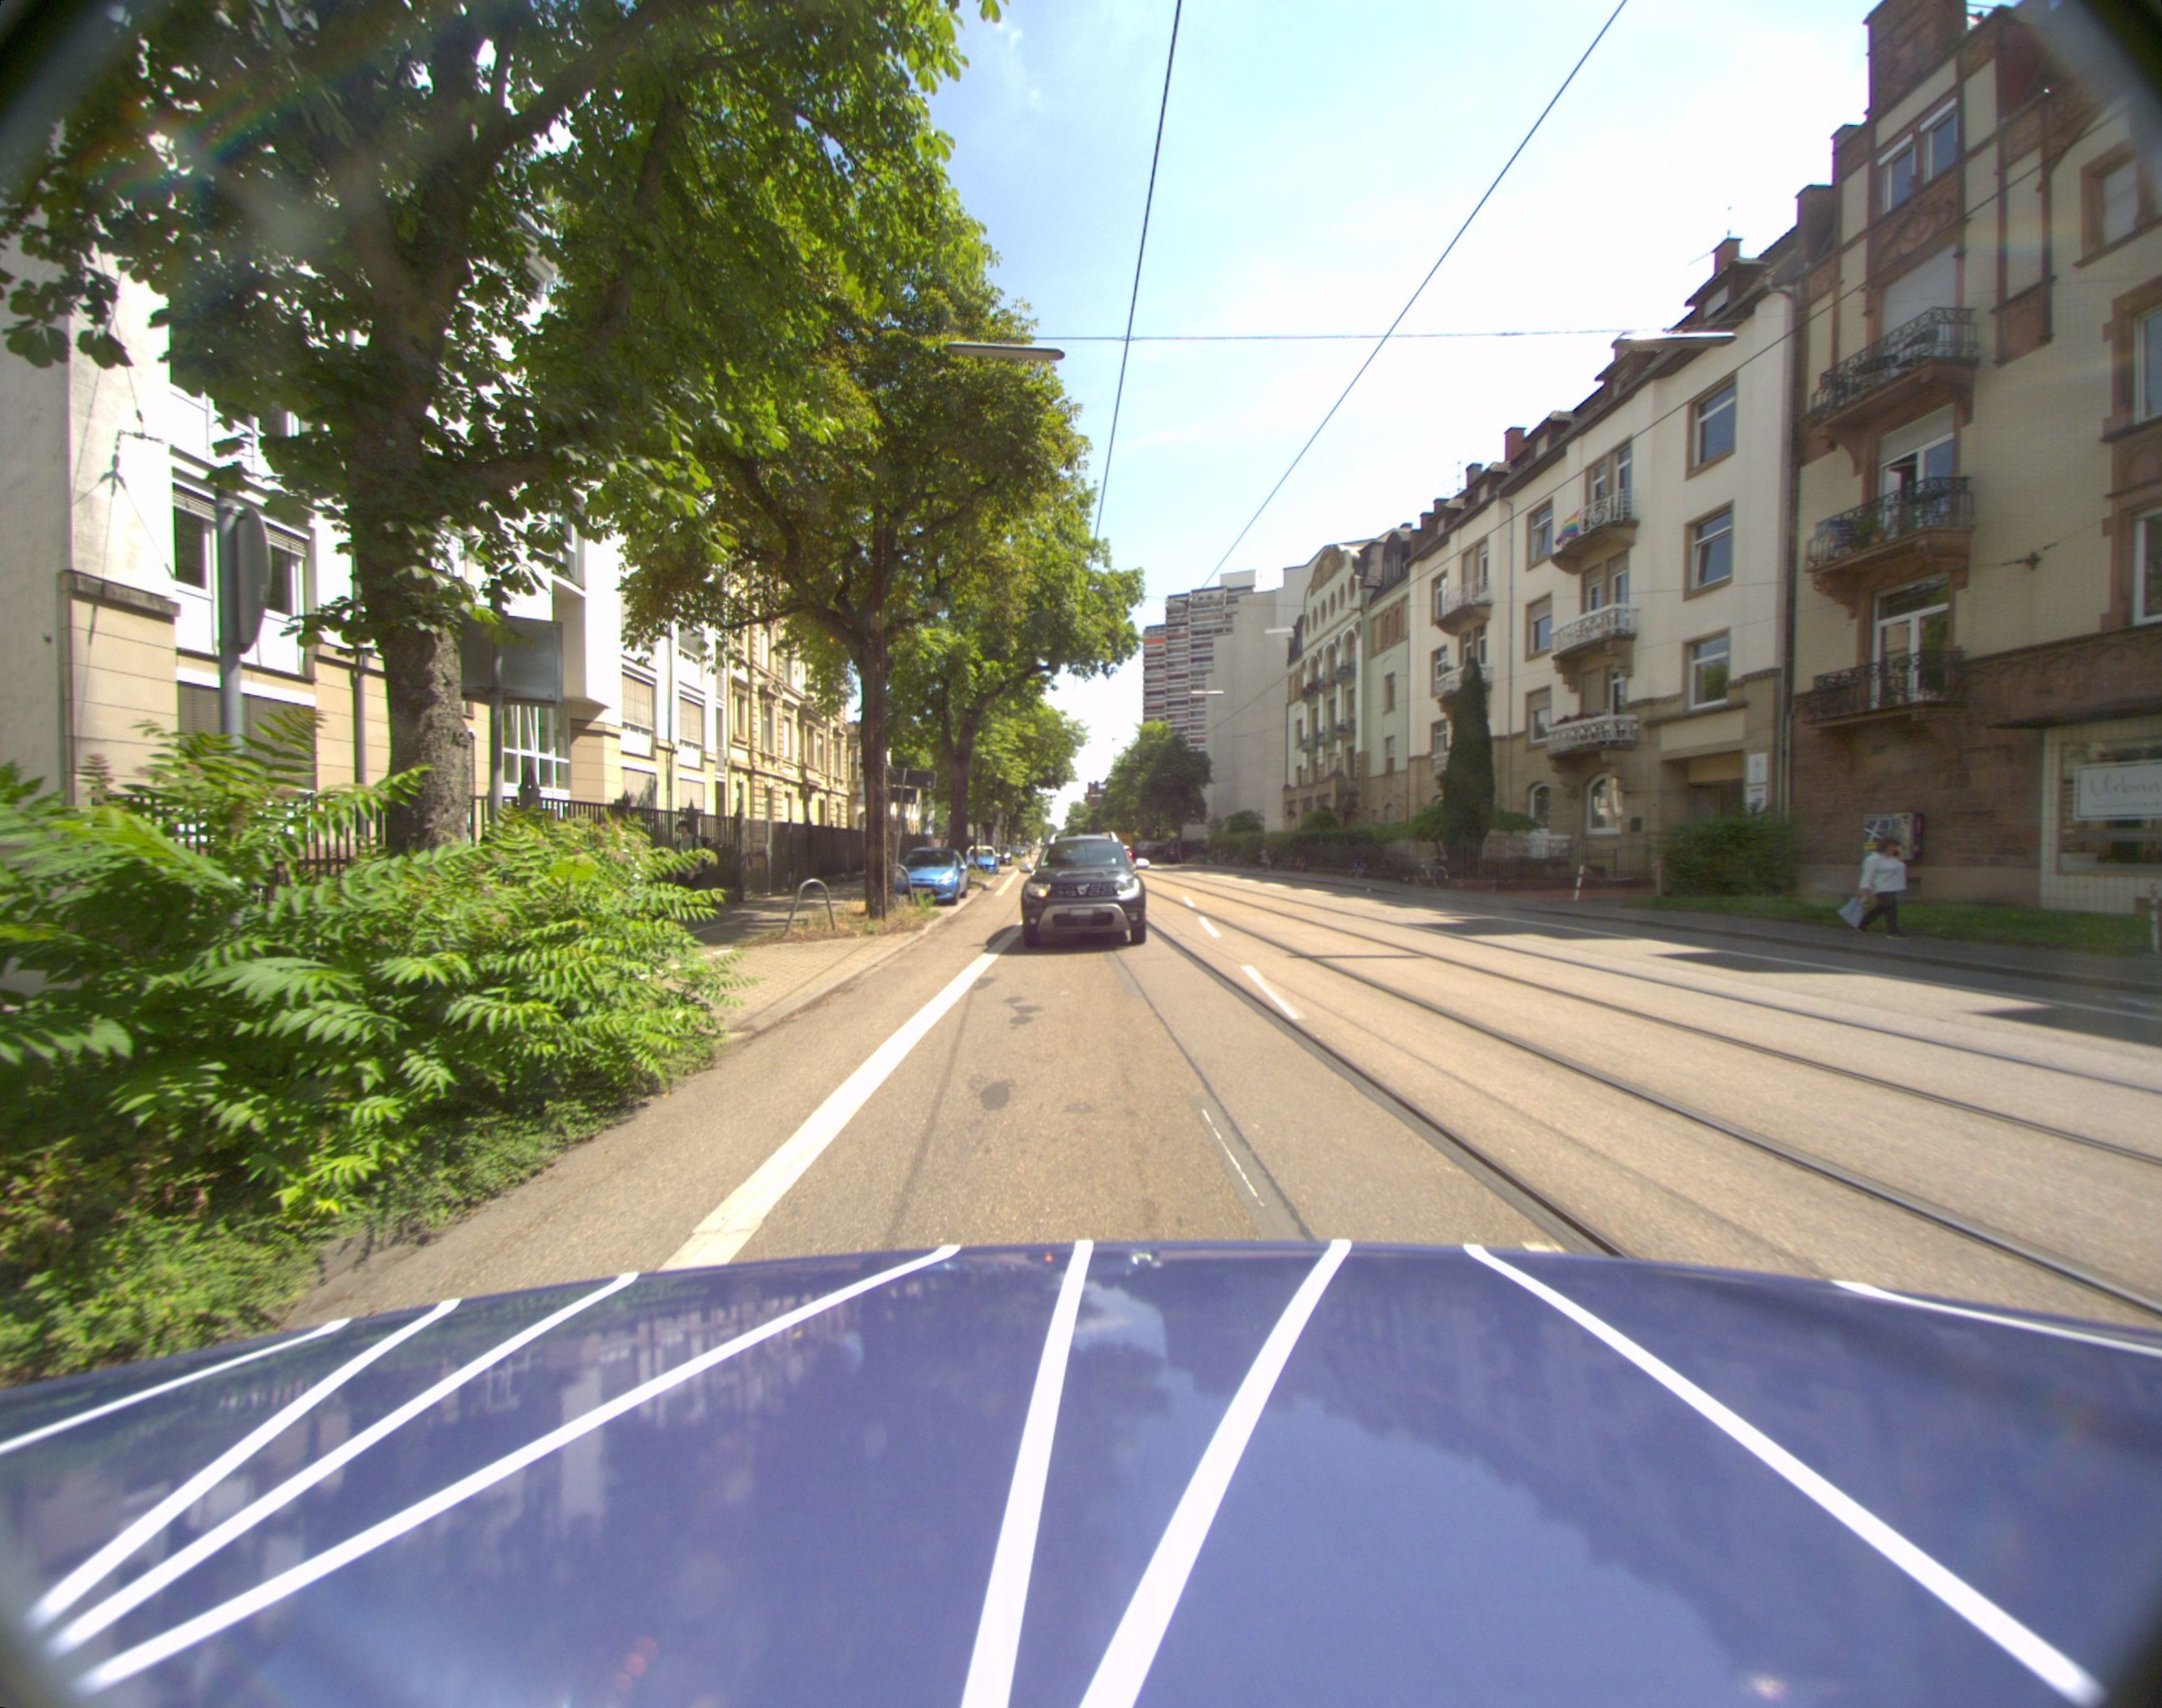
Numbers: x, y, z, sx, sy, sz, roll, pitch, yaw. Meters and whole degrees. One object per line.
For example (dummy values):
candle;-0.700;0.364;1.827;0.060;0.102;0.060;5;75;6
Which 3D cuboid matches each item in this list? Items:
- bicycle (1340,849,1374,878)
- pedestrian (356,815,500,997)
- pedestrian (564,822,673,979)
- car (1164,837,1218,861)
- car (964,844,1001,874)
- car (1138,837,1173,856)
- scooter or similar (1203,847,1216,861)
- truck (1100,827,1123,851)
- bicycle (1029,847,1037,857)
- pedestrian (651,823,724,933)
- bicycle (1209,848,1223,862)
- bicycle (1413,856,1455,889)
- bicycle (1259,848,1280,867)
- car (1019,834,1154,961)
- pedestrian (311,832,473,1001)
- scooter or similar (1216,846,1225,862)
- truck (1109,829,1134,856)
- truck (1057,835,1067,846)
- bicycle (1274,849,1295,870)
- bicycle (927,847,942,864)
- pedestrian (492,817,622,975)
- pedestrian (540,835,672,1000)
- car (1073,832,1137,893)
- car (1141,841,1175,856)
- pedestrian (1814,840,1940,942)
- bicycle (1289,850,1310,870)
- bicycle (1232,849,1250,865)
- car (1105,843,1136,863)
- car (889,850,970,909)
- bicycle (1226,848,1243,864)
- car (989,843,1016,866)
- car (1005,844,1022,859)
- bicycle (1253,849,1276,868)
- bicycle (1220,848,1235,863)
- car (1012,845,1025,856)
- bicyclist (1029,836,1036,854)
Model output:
bicycle;11.174;0.369;30.808;0.609;1.059;1.771;-4;1;-3
pedestrian;-6.837;0.514;8.017;0.662;1.801;0.976;0;1;-3
pedestrian;-5.471;0.519;9.049;0.706;1.766;0.947;0;1;-2
car;9.443;-0.438;64.991;4.595;1.914;1.956;-1;1;-40
car;-5.026;0.228;39.096;1.696;1.444;3.472;0;1;-4
car;8.298;-0.833;84.653;4.061;2.030;1.597;-1;2;-43
scooter or similar;9.686;-0.001;57.214;0.407;1.014;1.222;0;1;-19
truck;5.642;-2.742;139.809;2.673;4.156;10.480;0;1;11
bicycle;-5.382;-0.202;84.624;0.812;1.089;2.172;0;1;-5
pedestrian;-6.665;0.385;12.923;0.686;1.787;1.083;0;1;-3
bicycle;9.864;0.045;55.574;0.609;0.983;1.707;-4;1;-3
bicycle;11.528;0.597;24.884;0.411;0.955;1.840;-3;2;-3
bicycle;10.576;0.175;42.686;0.609;1.026;1.771;-4;1;-3
car;-0.008;0.547;12.220;1.753;1.641;4.296;-2;1;-2
pedestrian;-6.990;0.597;7.762;0.859;1.636;0.836;0;2;-4
scooter or similar;9.887;-0.026;53.806;0.407;1.114;1.290;0;1;-1
truck;4.481;-1.313;85.484;2.307;2.904;6.513;0;1;-2
truck;-6.039;-4.387;244.165;2.792;3.599;8.254;0;1;0
bicycle;10.565;0.265;39.468;0.465;0.993;1.707;-4;1;-3
bicycle;-9.271;0.089;48.023;0.609;1.065;1.980;0;1;-1
pedestrian;-6.127;0.460;8.952;0.790;1.751;1.052;0;1;-2
pedestrian;-4.968;0.623;8.023;0.768;1.642;0.973;0;1;-2
car;0.719;0.227;25.343;1.753;1.806;4.306;-3;1;-2
car;8.220;-0.621;81.121;1.677;1.566;3.692;2;2;45
pedestrian;12.393;0.545;11.867;0.903;1.534;0.983;0;1;-6
bicycle;10.835;0.284;37.638;0.414;0.960;1.725;-4;1;-3
bicycle;10.148;0.188;48.304;0.609;0.970;1.771;-4;1;-3
car;2.957;-0.077;57.895;1.828;1.405;4.427;2;1;-3
car;-4.005;0.626;20.663;1.682;1.435;3.719;0;1;-4
bicycle;10.143;0.147;50.197;0.609;0.983;1.707;-4;1;-3
car;-5.959;0.007;57.788;1.734;1.607;4.082;2;1;-3
car;-7.087;-0.277;80.169;1.626;1.395;3.821;2;1;-3
bicycle;9.798;0.233;40.537;0.608;0.993;1.778;1;1;33
bicycle;10.047;0.093;52.166;0.609;0.983;1.707;-4;1;-3
car;-8.167;-0.438;99.410;1.626;1.395;3.998;2;1;-3
bicyclist;-5.393;-0.975;84.512;0.773;2.002;0.807;0;2;-5
